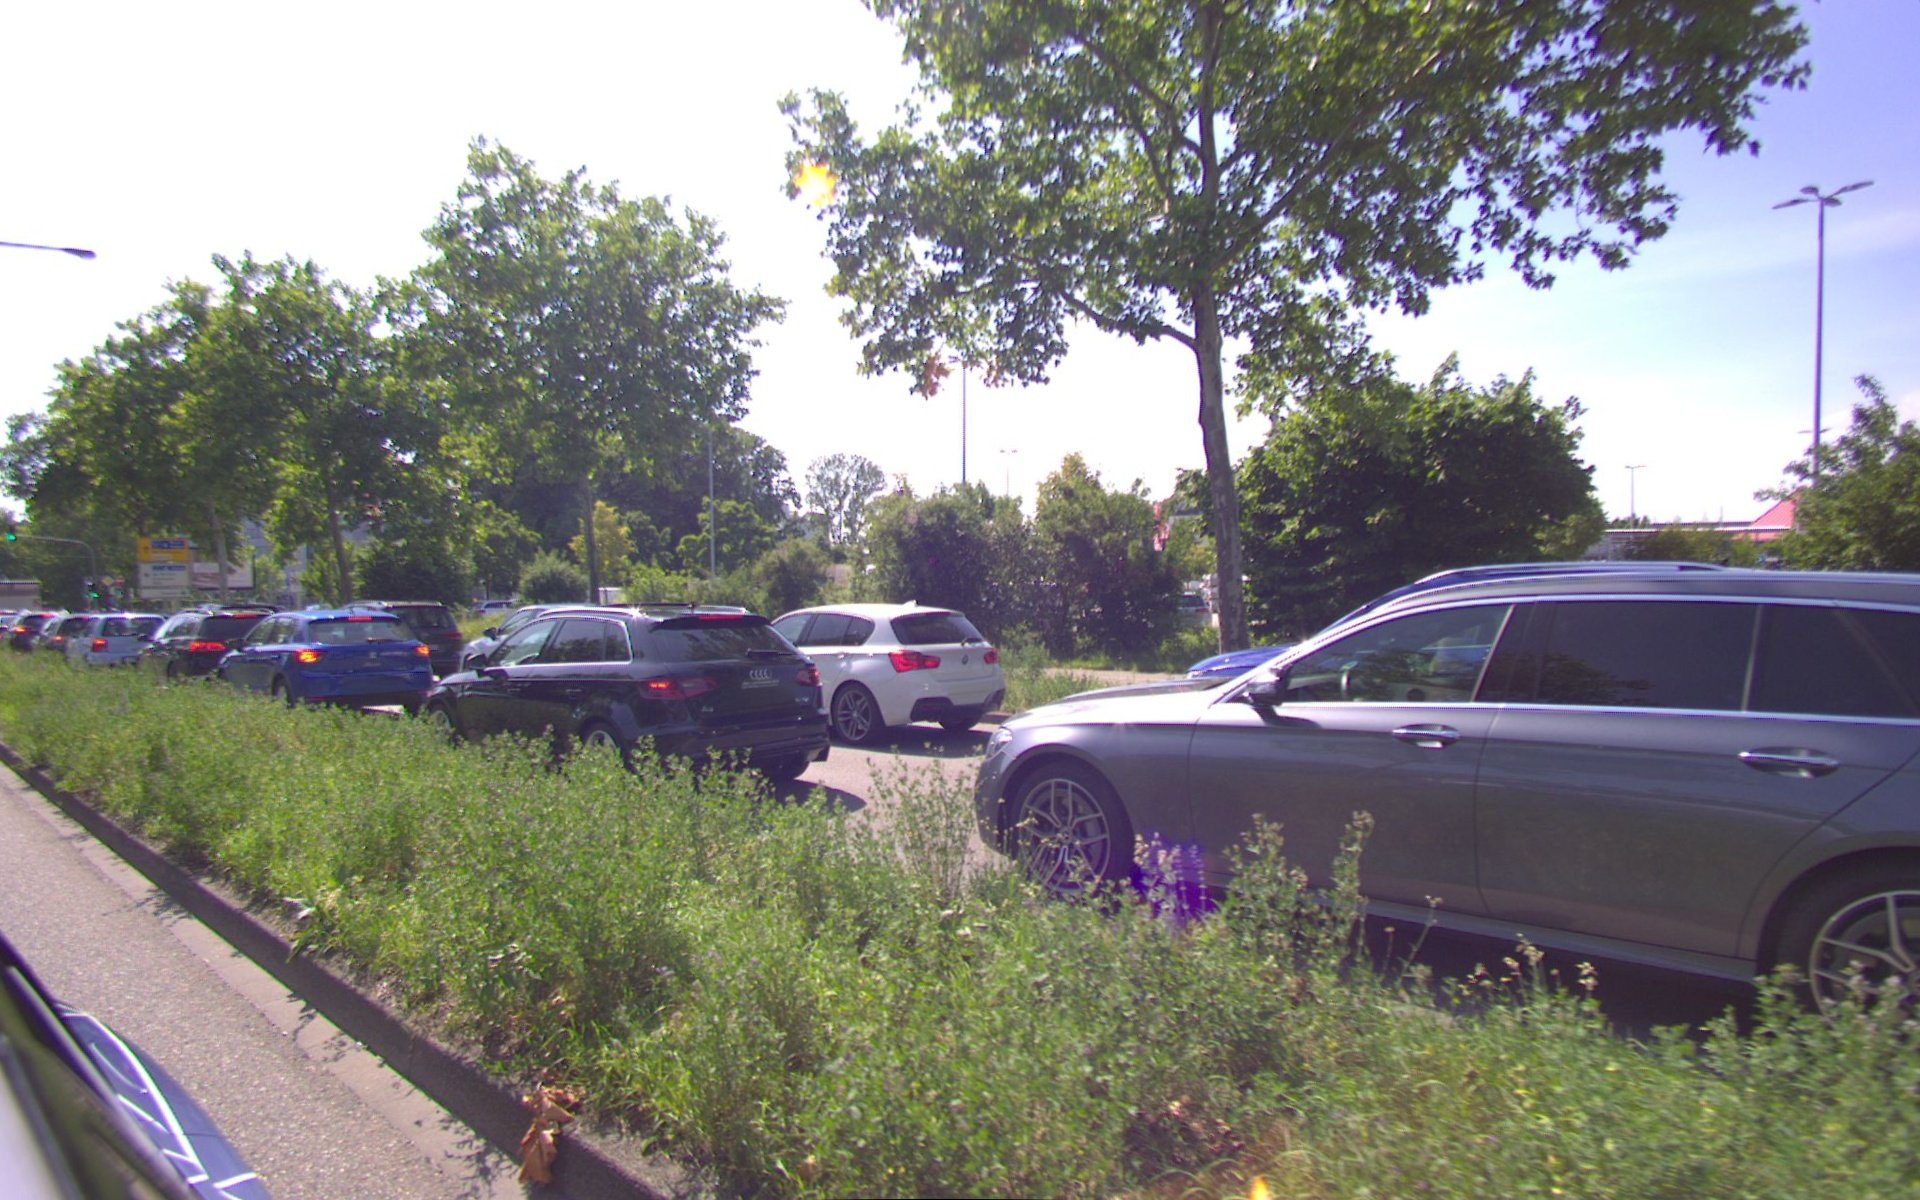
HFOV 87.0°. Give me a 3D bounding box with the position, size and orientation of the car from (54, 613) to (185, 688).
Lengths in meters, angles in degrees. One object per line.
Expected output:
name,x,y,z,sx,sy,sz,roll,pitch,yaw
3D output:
car,-18.726,1.073,22.491,3.813,1.483,1.671,-1,-1,41

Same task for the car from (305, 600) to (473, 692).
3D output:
car,-11.590,0.881,20.425,4.176,1.659,1.671,-1,-1,41

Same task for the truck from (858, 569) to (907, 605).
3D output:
truck,-6.741,-1.110,89.786,2.889,2.913,9.602,-2,0,4

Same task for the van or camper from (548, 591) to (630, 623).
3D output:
van or camper,-28.376,0.531,77.515,5.453,2.226,2.191,-2,0,8

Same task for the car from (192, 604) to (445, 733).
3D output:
car,-8.925,0.847,13.941,4.208,1.500,1.766,-1,-1,40

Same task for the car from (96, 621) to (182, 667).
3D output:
car,-29.657,1.561,36.523,4.081,1.541,1.671,-1,-2,40

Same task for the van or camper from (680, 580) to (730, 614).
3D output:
van or camper,-25.195,-0.349,100.369,2.679,3.123,6.313,-2,1,7

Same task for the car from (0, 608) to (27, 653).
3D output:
car,-37.884,1.168,39.400,4.692,1.659,1.801,0,0,41

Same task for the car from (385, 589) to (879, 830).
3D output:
car,-2.889,0.709,8.346,4.447,1.476,1.805,-1,-1,40

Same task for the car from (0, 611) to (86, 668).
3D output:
car,-27.887,1.158,30.582,4.238,1.598,1.671,-1,-1,41

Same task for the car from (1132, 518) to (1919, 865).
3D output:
car,3.473,0.470,6.847,4.309,1.644,1.671,-1,-1,41

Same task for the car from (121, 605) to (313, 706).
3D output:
car,-13.167,0.896,17.816,4.825,1.541,1.739,-1,-1,41

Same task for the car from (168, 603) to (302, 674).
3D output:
car,-19.666,0.960,27.370,4.764,1.750,1.803,0,0,40

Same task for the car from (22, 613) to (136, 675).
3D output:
car,-22.697,1.090,26.028,4.216,1.485,1.671,-1,-2,41

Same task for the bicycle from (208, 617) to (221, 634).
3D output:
bicycle,-47.714,1.609,64.770,0.586,1.045,1.900,-2,1,-34

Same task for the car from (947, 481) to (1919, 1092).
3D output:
car,2.417,0.509,4.016,5.006,1.619,1.827,-1,-1,41

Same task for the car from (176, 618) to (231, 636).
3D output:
car,-68.868,2.442,92.214,1.823,1.460,3.995,-2,0,4

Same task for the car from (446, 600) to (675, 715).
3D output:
car,-6.239,0.817,15.604,3.937,1.541,1.671,-1,-1,41

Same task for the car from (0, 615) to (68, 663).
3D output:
car,-30.962,1.265,33.382,4.521,1.479,1.778,-1,-1,42

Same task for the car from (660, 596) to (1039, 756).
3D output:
car,-1.404,0.738,11.429,4.426,1.462,1.714,-1,-1,41

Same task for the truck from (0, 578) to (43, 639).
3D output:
truck,-57.840,0.576,61.199,6.688,3.498,2.774,-2,-2,41

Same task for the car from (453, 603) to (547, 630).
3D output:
car,-26.826,0.956,59.142,2.195,1.424,4.525,-1,1,34
